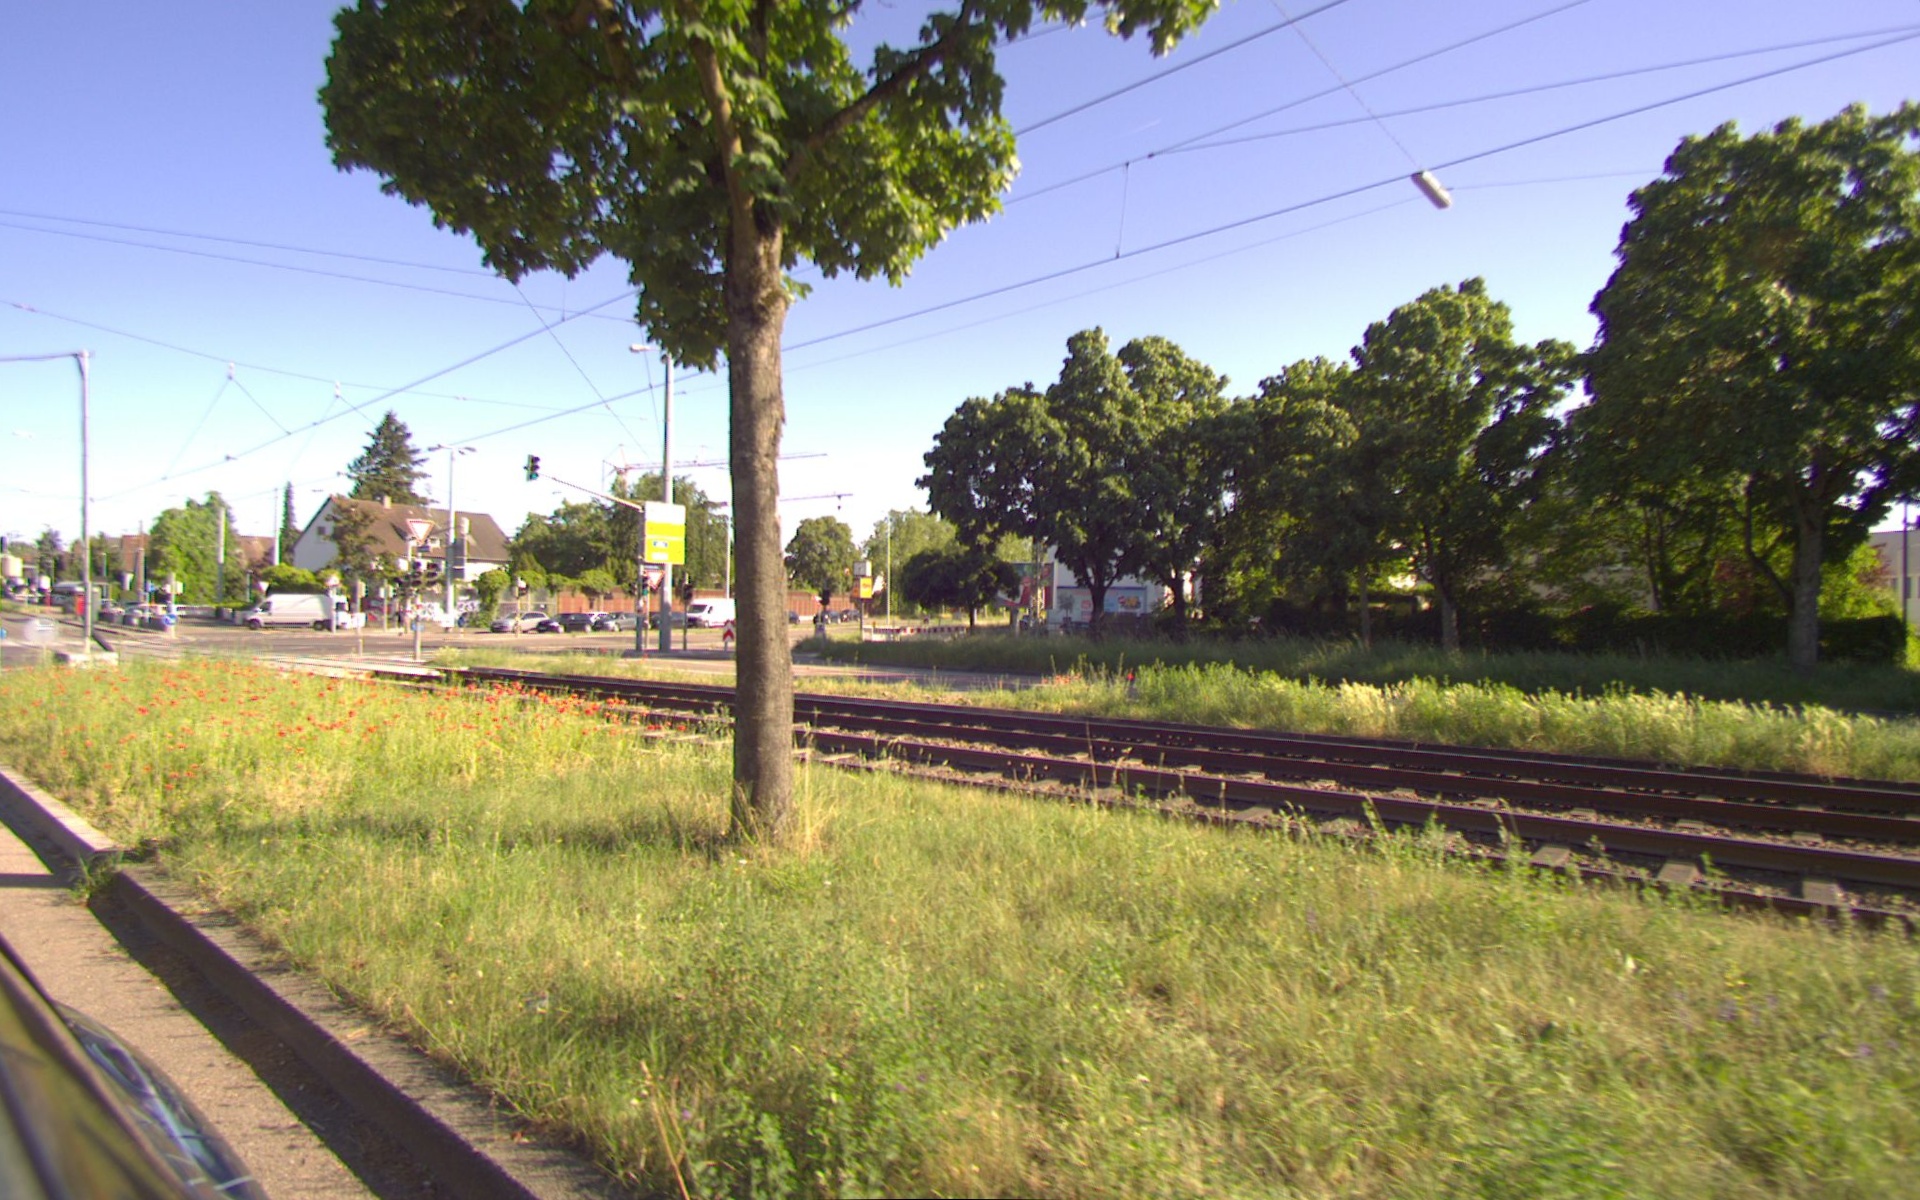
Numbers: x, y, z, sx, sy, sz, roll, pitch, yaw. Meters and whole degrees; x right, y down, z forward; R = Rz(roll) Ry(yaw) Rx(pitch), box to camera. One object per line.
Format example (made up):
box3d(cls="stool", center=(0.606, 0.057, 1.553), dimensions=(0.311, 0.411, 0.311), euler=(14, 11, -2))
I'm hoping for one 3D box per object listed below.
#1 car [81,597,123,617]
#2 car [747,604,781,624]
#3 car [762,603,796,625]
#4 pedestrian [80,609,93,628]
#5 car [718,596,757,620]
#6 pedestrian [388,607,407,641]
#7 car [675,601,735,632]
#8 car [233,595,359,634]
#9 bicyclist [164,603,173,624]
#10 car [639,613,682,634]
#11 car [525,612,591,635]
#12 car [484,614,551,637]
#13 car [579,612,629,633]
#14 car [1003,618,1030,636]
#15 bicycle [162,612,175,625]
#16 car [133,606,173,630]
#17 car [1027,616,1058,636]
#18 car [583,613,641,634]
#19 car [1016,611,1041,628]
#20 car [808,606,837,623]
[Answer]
box3d(cls="car", center=(-72.206, 0.565, 85.109), dimensions=(4.687, 1.608, 1.796), euler=(0, -1, 38))
box3d(cls="car", center=(-19.640, 1.409, 101.551), dimensions=(1.791, 2.029, 3.982), euler=(1, -1, 14))
box3d(cls="car", center=(-17.490, 1.356, 97.925), dimensions=(1.791, 2.029, 3.982), euler=(1, -1, 14))
box3d(cls="pedestrian", center=(-66.052, 1.418, 76.507), dimensions=(0.711, 1.425, 0.615), euler=(-1, -1, 41))
box3d(cls="car", center=(-19.710, 0.706, 89.980), dimensions=(1.791, 2.029, 3.981), euler=(1, -1, 14))
box3d(cls="pedestrian", center=(-33.040, 1.394, 59.446), dimensions=(0.765, 1.963, 0.611), euler=(0, -1, -1))
box3d(cls="car", center=(-21.131, 1.347, 84.115), dimensions=(2.162, 2.429, 5.889), euler=(0, -1, 17))
box3d(cls="car", center=(-44.801, 0.980, 68.453), dimensions=(6.758, 2.476, 2.354), euler=(1, -1, -10))
box3d(cls="bicyclist", center=(-63.200, 1.087, 80.815), dimensions=(0.648, 1.620, 0.484), euler=(0, -1, 42))
box3d(cls="car", center=(-22.972, 1.805, 77.617), dimensions=(1.484, 1.579, 3.508), euler=(0, -1, 17))
box3d(cls="car", center=(-26.631, 1.523, 67.166), dimensions=(1.920, 1.477, 4.228), euler=(0, -1, 15))
box3d(cls="car", center=(-29.616, 1.671, 67.908), dimensions=(1.657, 1.488, 4.614), euler=(1, -1, 15))
box3d(cls="car", center=(-27.004, 1.713, 76.963), dimensions=(1.657, 1.488, 3.981), euler=(1, -1, 15))
box3d(cls="car", center=(5.933, 2.773, 105.534), dimensions=(1.982, 1.775, 3.979), euler=(0, -1, 16))
box3d(cls="bicycle", center=(-63.288, 1.475, 80.892), dimensions=(1.948, 1.050, 0.502), euler=(0, -1, 43))
box3d(cls="car", center=(-58.125, 1.284, 72.844), dimensions=(4.003, 1.700, 1.771), euler=(0, -1, 45))
box3d(cls="car", center=(7.399, 2.309, 90.720), dimensions=(1.982, 1.775, 3.979), euler=(0, -1, 16))
box3d(cls="car", center=(-24.828, 1.642, 72.409), dimensions=(1.920, 1.477, 4.238), euler=(-1, -1, 15))
box3d(cls="car", center=(7.485, 2.077, 110.049), dimensions=(1.982, 1.775, 3.979), euler=(0, -1, 16))
box3d(cls="car", center=(-14.377, 1.537, 105.948), dimensions=(1.791, 1.755, 3.982), euler=(0, -1, 14))
